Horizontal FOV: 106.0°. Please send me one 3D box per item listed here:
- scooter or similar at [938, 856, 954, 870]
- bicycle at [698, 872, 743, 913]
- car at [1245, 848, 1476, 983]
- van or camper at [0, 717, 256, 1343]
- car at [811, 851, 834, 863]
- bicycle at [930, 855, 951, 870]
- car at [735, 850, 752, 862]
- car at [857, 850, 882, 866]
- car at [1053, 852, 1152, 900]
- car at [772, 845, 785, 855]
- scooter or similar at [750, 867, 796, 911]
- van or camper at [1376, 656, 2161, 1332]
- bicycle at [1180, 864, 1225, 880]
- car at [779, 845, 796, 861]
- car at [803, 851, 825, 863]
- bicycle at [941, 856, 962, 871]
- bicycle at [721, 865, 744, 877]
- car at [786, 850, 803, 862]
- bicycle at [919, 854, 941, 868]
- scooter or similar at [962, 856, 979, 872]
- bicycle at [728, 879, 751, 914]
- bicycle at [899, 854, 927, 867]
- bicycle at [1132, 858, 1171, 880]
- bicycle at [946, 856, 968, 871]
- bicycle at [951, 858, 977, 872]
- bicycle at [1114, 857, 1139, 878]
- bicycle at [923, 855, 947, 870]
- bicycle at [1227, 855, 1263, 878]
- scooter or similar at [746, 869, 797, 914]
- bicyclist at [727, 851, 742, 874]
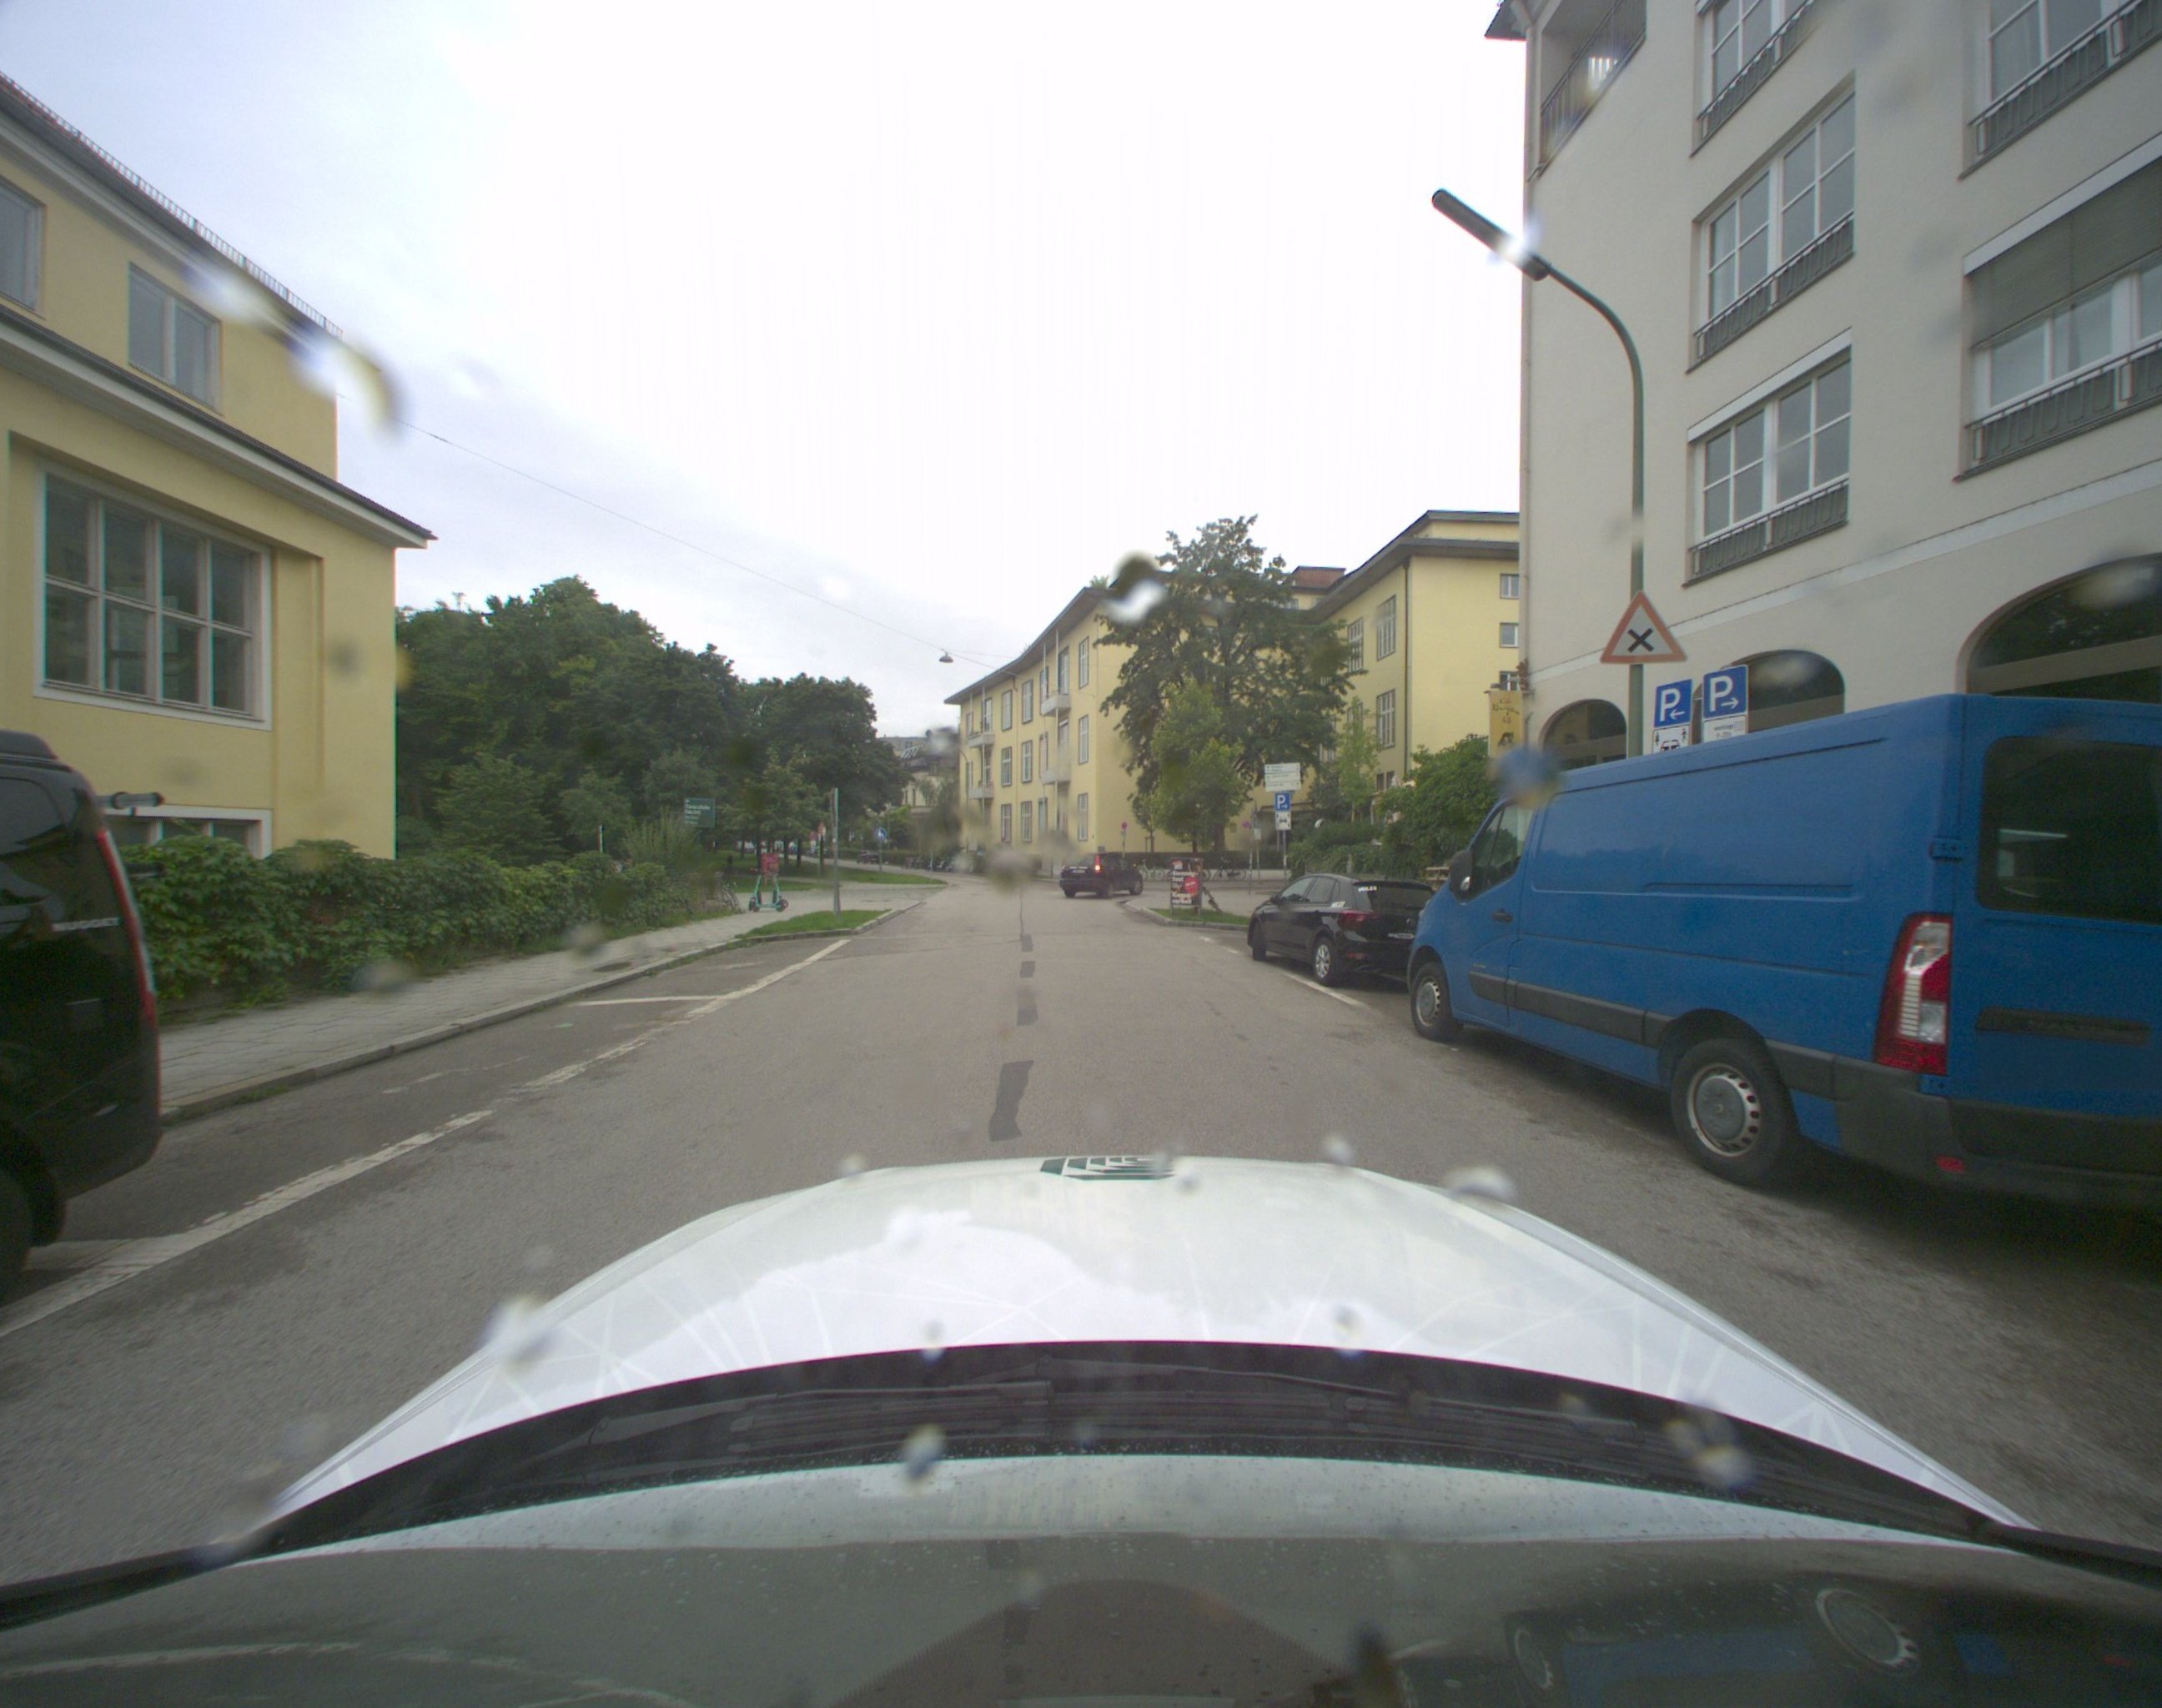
[{"bbox_3d":[-10.592,0.715,63.965,0.490,1.088,1.418,-1,1,25],"label":"scooter or similar"},{"bbox_3d":[-10.806,1.130,24.421,1.482,1.134,0.658,0,0,41],"label":"bicycle"},{"bbox_3d":[3.762,0.729,11.757,1.700,1.518,3.953,4,0,-4],"label":"car"},{"bbox_3d":[-4.524,0.629,1.092,1.955,2.065,4.750,-3,0,-2],"label":"van or camper"},{"bbox_3d":[-34.285,0.374,107.985,2.189,1.657,4.464,0,0,-29],"label":"car"},{"bbox_3d":[-11.107,0.662,64.290,0.631,1.085,1.996,-1,1,22],"label":"bicycle"},{"bbox_3d":[-50.908,0.267,122.764,2.005,1.838,3.964,0,0,-28],"label":"car"},{"bbox_3d":[-22.299,0.407,85.746,1.872,1.633,4.248,0,0,-25],"label":"car"},{"bbox_3d":[0.920,0.761,31.078,1.976,1.694,4.407,0,0,28],"label":"car"},{"bbox_3d":[-53.645,-0.709,144.405,1.654,1.652,4.246,0,0,-27],"label":"car"},{"bbox_3d":[-9.184,1.037,24.301,0.441,1.220,1.189,-3,0,34],"label":"scooter or similar"},{"bbox_3d":[4.099,0.504,5.470,2.054,2.231,5.435,4,0,-1],"label":"van or camper"},{"bbox_3d":[6.262,0.927,41.889,2.192,0.779,0.613,0,0,17],"label":"bicycle"},{"bbox_3d":[-48.442,-0.106,134.252,1.886,2.568,4.887,0,0,-28],"label":"car"},{"bbox_3d":[-37.187,0.369,113.251,2.189,1.657,4.464,0,0,-29],"label":"car"},{"bbox_3d":[-10.116,0.741,63.624,0.570,1.085,1.945,-1,1,29],"label":"bicycle"},{"bbox_3d":[-22.314,1.102,52.151,1.349,0.776,0.441,0,0,8],"label":"bicycle"},{"bbox_3d":[-44.313,0.257,125.847,1.886,1.816,3.964,0,0,-28],"label":"car"},{"bbox_3d":[-12.375,0.569,66.745,0.756,1.085,2.153,-1,1,22],"label":"bicycle"},{"bbox_3d":[-8.107,0.727,59.642,0.490,1.109,1.418,-1,1,25],"label":"scooter or similar"},{"bbox_3d":[-9.652,1.180,23.008,0.472,0.923,1.194,0,0,-28],"label":"bicycle"},{"bbox_3d":[-14.916,0.613,72.392,2.347,1.085,0.685,-2,1,-33],"label":"bicycle"},{"bbox_3d":[3.718,0.763,43.291,0.614,1.117,2.190,0,0,-44],"label":"bicycle"},{"bbox_3d":[-9.607,0.726,63.079,0.570,1.085,1.945,-1,1,29],"label":"bicycle"},{"bbox_3d":[-8.722,0.805,60.912,1.834,1.005,0.572,-1,1,-30],"label":"bicycle"},{"bbox_3d":[2.507,0.750,45.487,0.610,1.072,2.203,-1,1,-19],"label":"bicycle"},{"bbox_3d":[-11.638,0.661,65.000,0.690,1.085,2.351,-1,1,22],"label":"bicycle"},{"bbox_3d":[8.415,0.623,41.854,1.728,1.150,0.610,0,0,1],"label":"bicycle"},{"bbox_3d":[-8.932,1.069,23.532,1.174,1.220,0.602,-3,0,-1],"label":"scooter or similar"},{"bbox_3d":[-22.226,0.560,52.183,0.624,1.460,0.647,0,0,9],"label":"bicyclist"}]
